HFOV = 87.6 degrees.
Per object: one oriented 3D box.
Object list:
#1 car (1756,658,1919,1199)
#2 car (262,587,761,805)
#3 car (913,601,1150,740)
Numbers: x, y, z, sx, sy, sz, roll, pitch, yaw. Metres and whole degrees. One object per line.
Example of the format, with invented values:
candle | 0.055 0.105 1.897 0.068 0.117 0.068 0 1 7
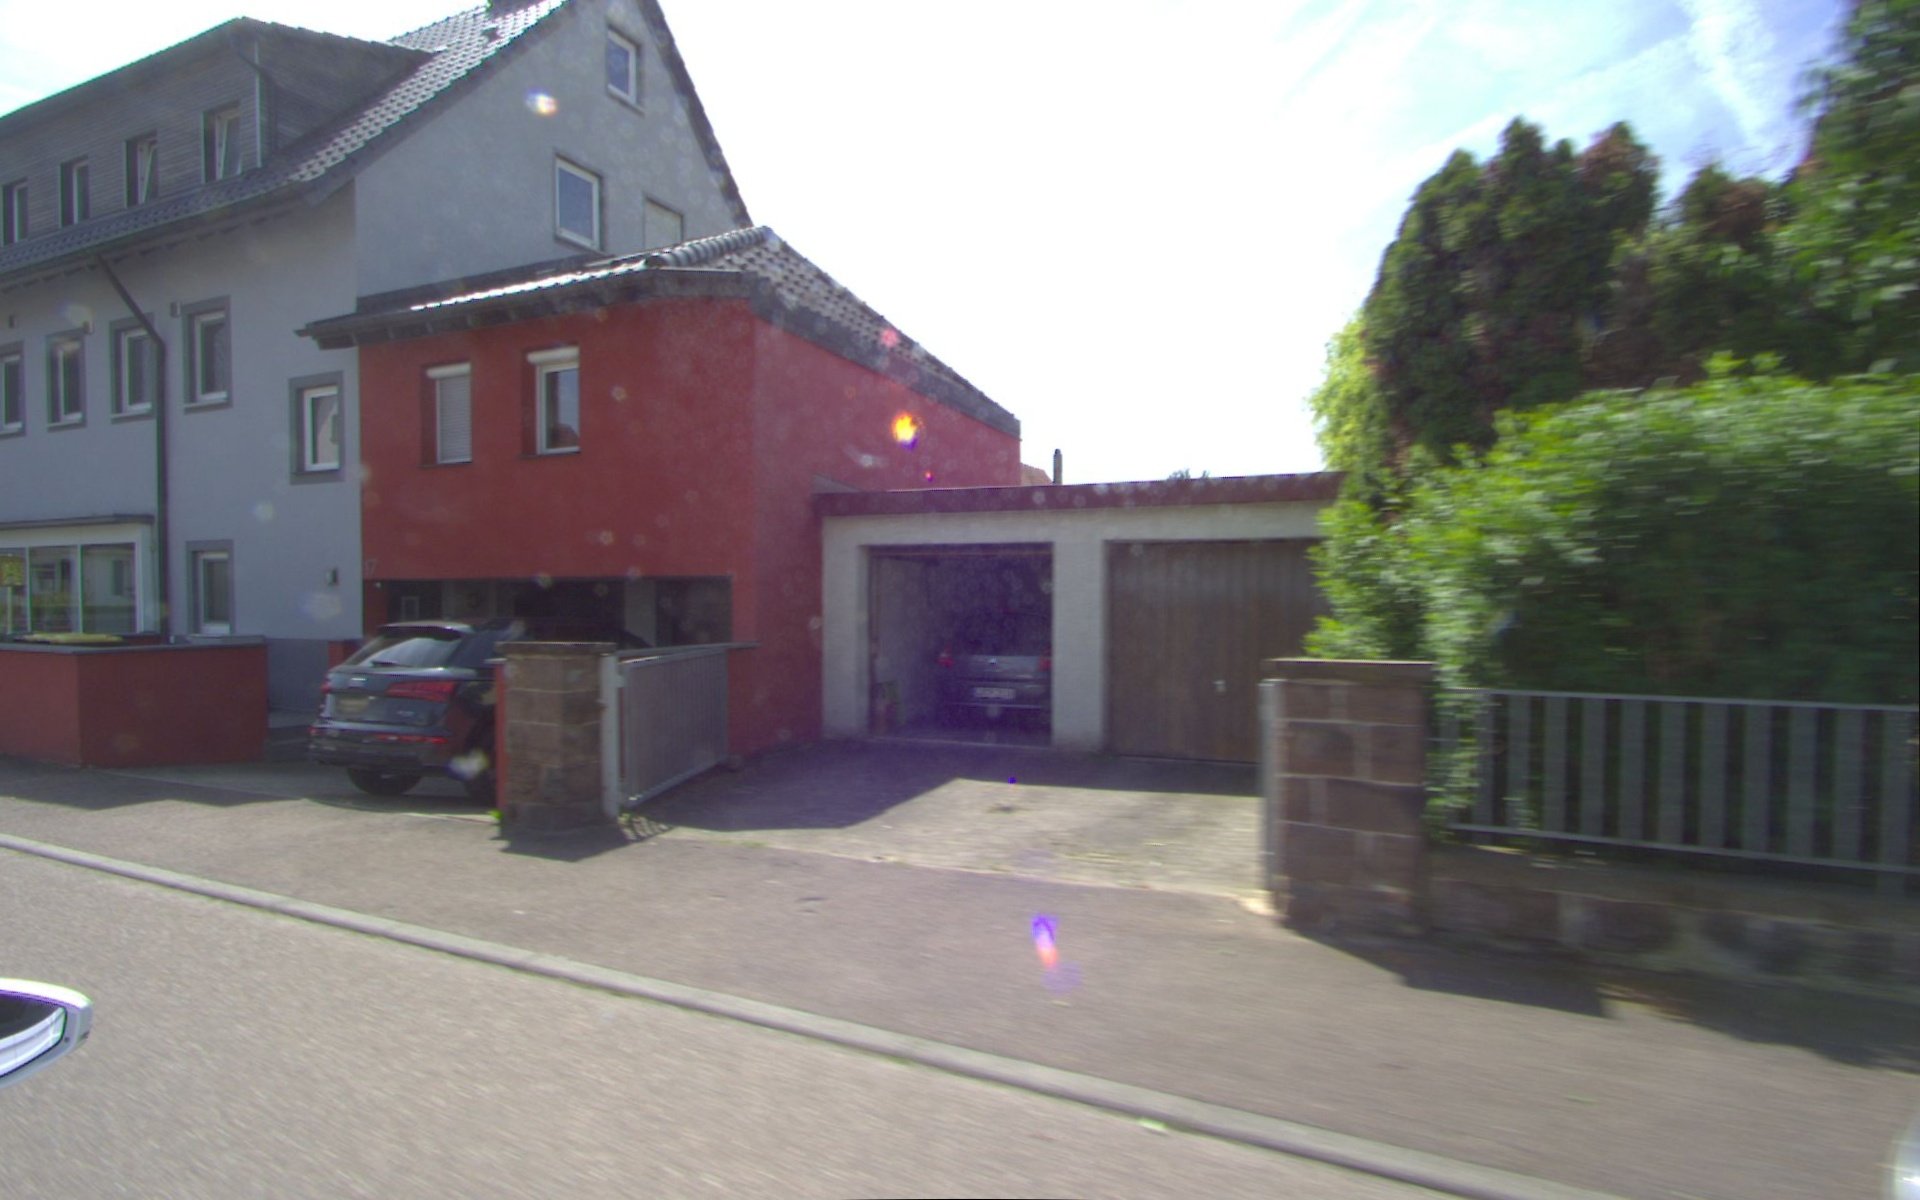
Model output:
car | 3.348 0.801 0.487 4.351 1.439 1.751 0 -2 27
car | -4.133 0.981 10.125 1.846 1.687 4.374 0 -6 26
car | 1.099 0.772 13.114 1.760 1.485 3.952 1 1 26
